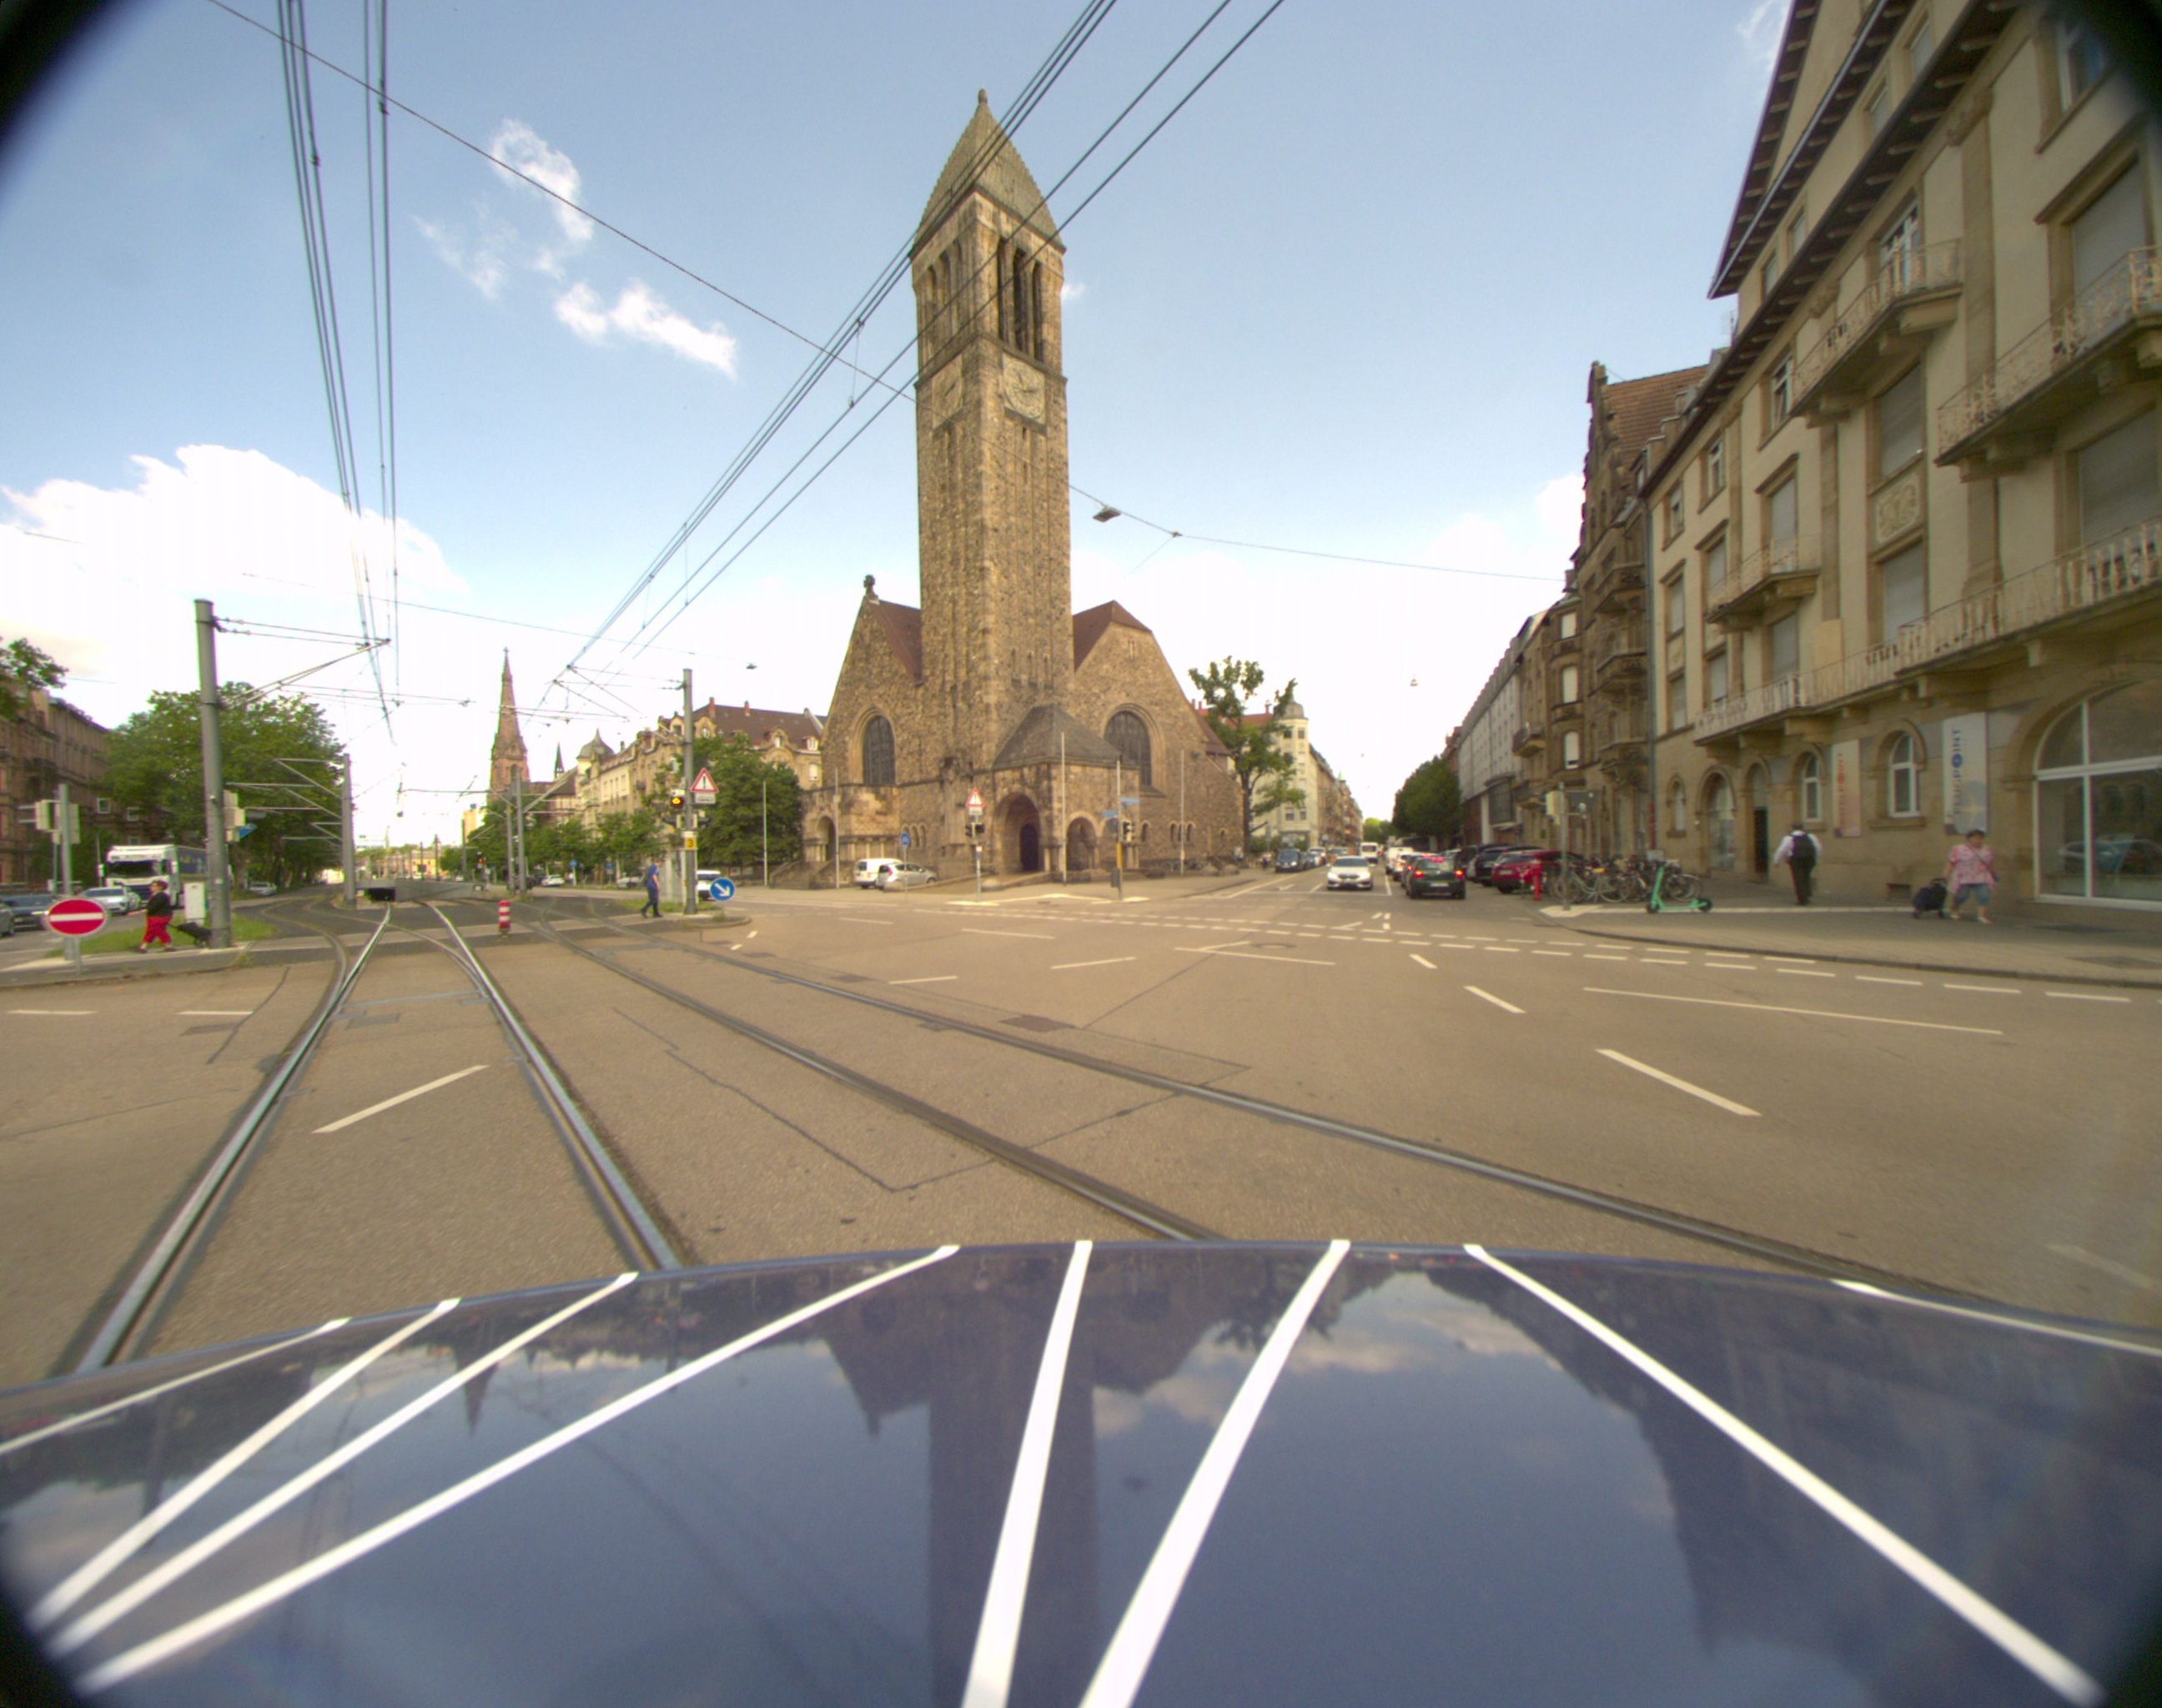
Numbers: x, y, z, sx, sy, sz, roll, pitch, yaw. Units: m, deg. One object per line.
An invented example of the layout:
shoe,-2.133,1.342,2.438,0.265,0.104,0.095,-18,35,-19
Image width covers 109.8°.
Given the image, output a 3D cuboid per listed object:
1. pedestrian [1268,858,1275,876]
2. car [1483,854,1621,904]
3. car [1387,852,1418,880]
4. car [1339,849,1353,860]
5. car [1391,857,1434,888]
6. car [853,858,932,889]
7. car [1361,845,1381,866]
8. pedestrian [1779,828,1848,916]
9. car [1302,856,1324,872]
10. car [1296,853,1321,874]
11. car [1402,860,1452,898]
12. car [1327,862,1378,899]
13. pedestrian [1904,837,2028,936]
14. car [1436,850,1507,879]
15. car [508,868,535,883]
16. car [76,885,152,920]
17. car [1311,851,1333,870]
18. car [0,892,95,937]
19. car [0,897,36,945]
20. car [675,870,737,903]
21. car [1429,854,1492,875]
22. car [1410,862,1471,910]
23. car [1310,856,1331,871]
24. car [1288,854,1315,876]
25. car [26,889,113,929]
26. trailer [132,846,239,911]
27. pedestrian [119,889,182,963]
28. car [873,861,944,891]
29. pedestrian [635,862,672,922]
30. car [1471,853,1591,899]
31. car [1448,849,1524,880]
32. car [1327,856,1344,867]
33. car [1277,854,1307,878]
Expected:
pedestrian,15.408,1.060,61.447,0.465,1.447,0.557,-1,0,17
car,16.499,0.862,26.671,4.002,1.448,1.810,-3,-1,-15
car,21.482,0.779,50.871,1.814,1.765,4.291,0,-1,22
car,43.657,0.079,125.159,1.806,1.756,4.193,-1,0,23
car,17.854,0.979,41.082,1.772,1.573,4.026,-1,0,19
car,-11.743,1.233,47.470,4.315,1.842,1.995,1,-2,-44
car,34.568,0.245,90.467,2.078,2.430,5.955,1,0,21
pedestrian,15.979,0.377,16.595,0.803,1.850,0.906,-2,3,22
car,22.481,0.958,73.568,1.680,1.438,3.804,-1,0,23
car,20.755,0.846,69.200,1.680,1.780,4.006,-1,0,23
car,15.107,1.036,33.301,1.749,1.531,3.938,-1,0,21
car,11.949,1.099,33.276,1.823,1.440,4.393,1,1,23
pedestrian,15.096,0.545,13.004,0.942,1.585,0.997,-5,-1,23
car,25.676,0.700,49.945,3.957,1.576,1.729,-4,-2,-17
car,-58.069,2.181,78.829,1.789,1.525,4.374,0,-1,-43
car,-52.448,2.586,41.299,1.858,1.695,4.123,-1,0,-42
car,26.158,0.697,82.393,1.841,1.927,4.193,-1,0,23
car,-41.114,2.353,30.051,1.858,1.438,3.962,-1,1,-42
car,-36.177,2.228,24.713,1.738,1.457,4.315,-1,0,-43
car,-18.705,1.584,37.795,1.824,1.497,4.120,-2,0,-40
car,27.575,0.740,55.234,3.957,1.465,1.729,-1,0,-17
car,12.371,1.053,26.338,1.715,1.425,3.824,0,1,22
car,24.749,0.987,78.381,1.680,1.487,3.897,-1,0,23
car,18.432,0.913,63.334,1.680,1.780,4.006,-1,0,23
car,-45.207,2.422,34.044,1.690,1.554,3.742,-1,0,-43
trailer,-62.460,1.576,53.324,2.923,4.054,11.618,-2,1,-40
pedestrian,-19.602,1.488,16.012,0.656,1.483,0.777,-1,0,35
car,-10.035,1.311,44.440,1.814,1.668,3.646,-3,-3,44
pedestrian,-12.504,1.091,22.224,0.774,1.721,0.742,-1,1,-44
car,17.336,0.857,29.310,3.957,1.448,1.729,-3,-2,-19
car,24.899,0.637,46.716,3.956,1.576,1.729,-4,-1,-17
car,33.336,0.922,99.542,1.806,1.360,4.193,-1,0,23
car,16.300,0.916,58.538,1.680,1.780,4.152,-1,0,23
